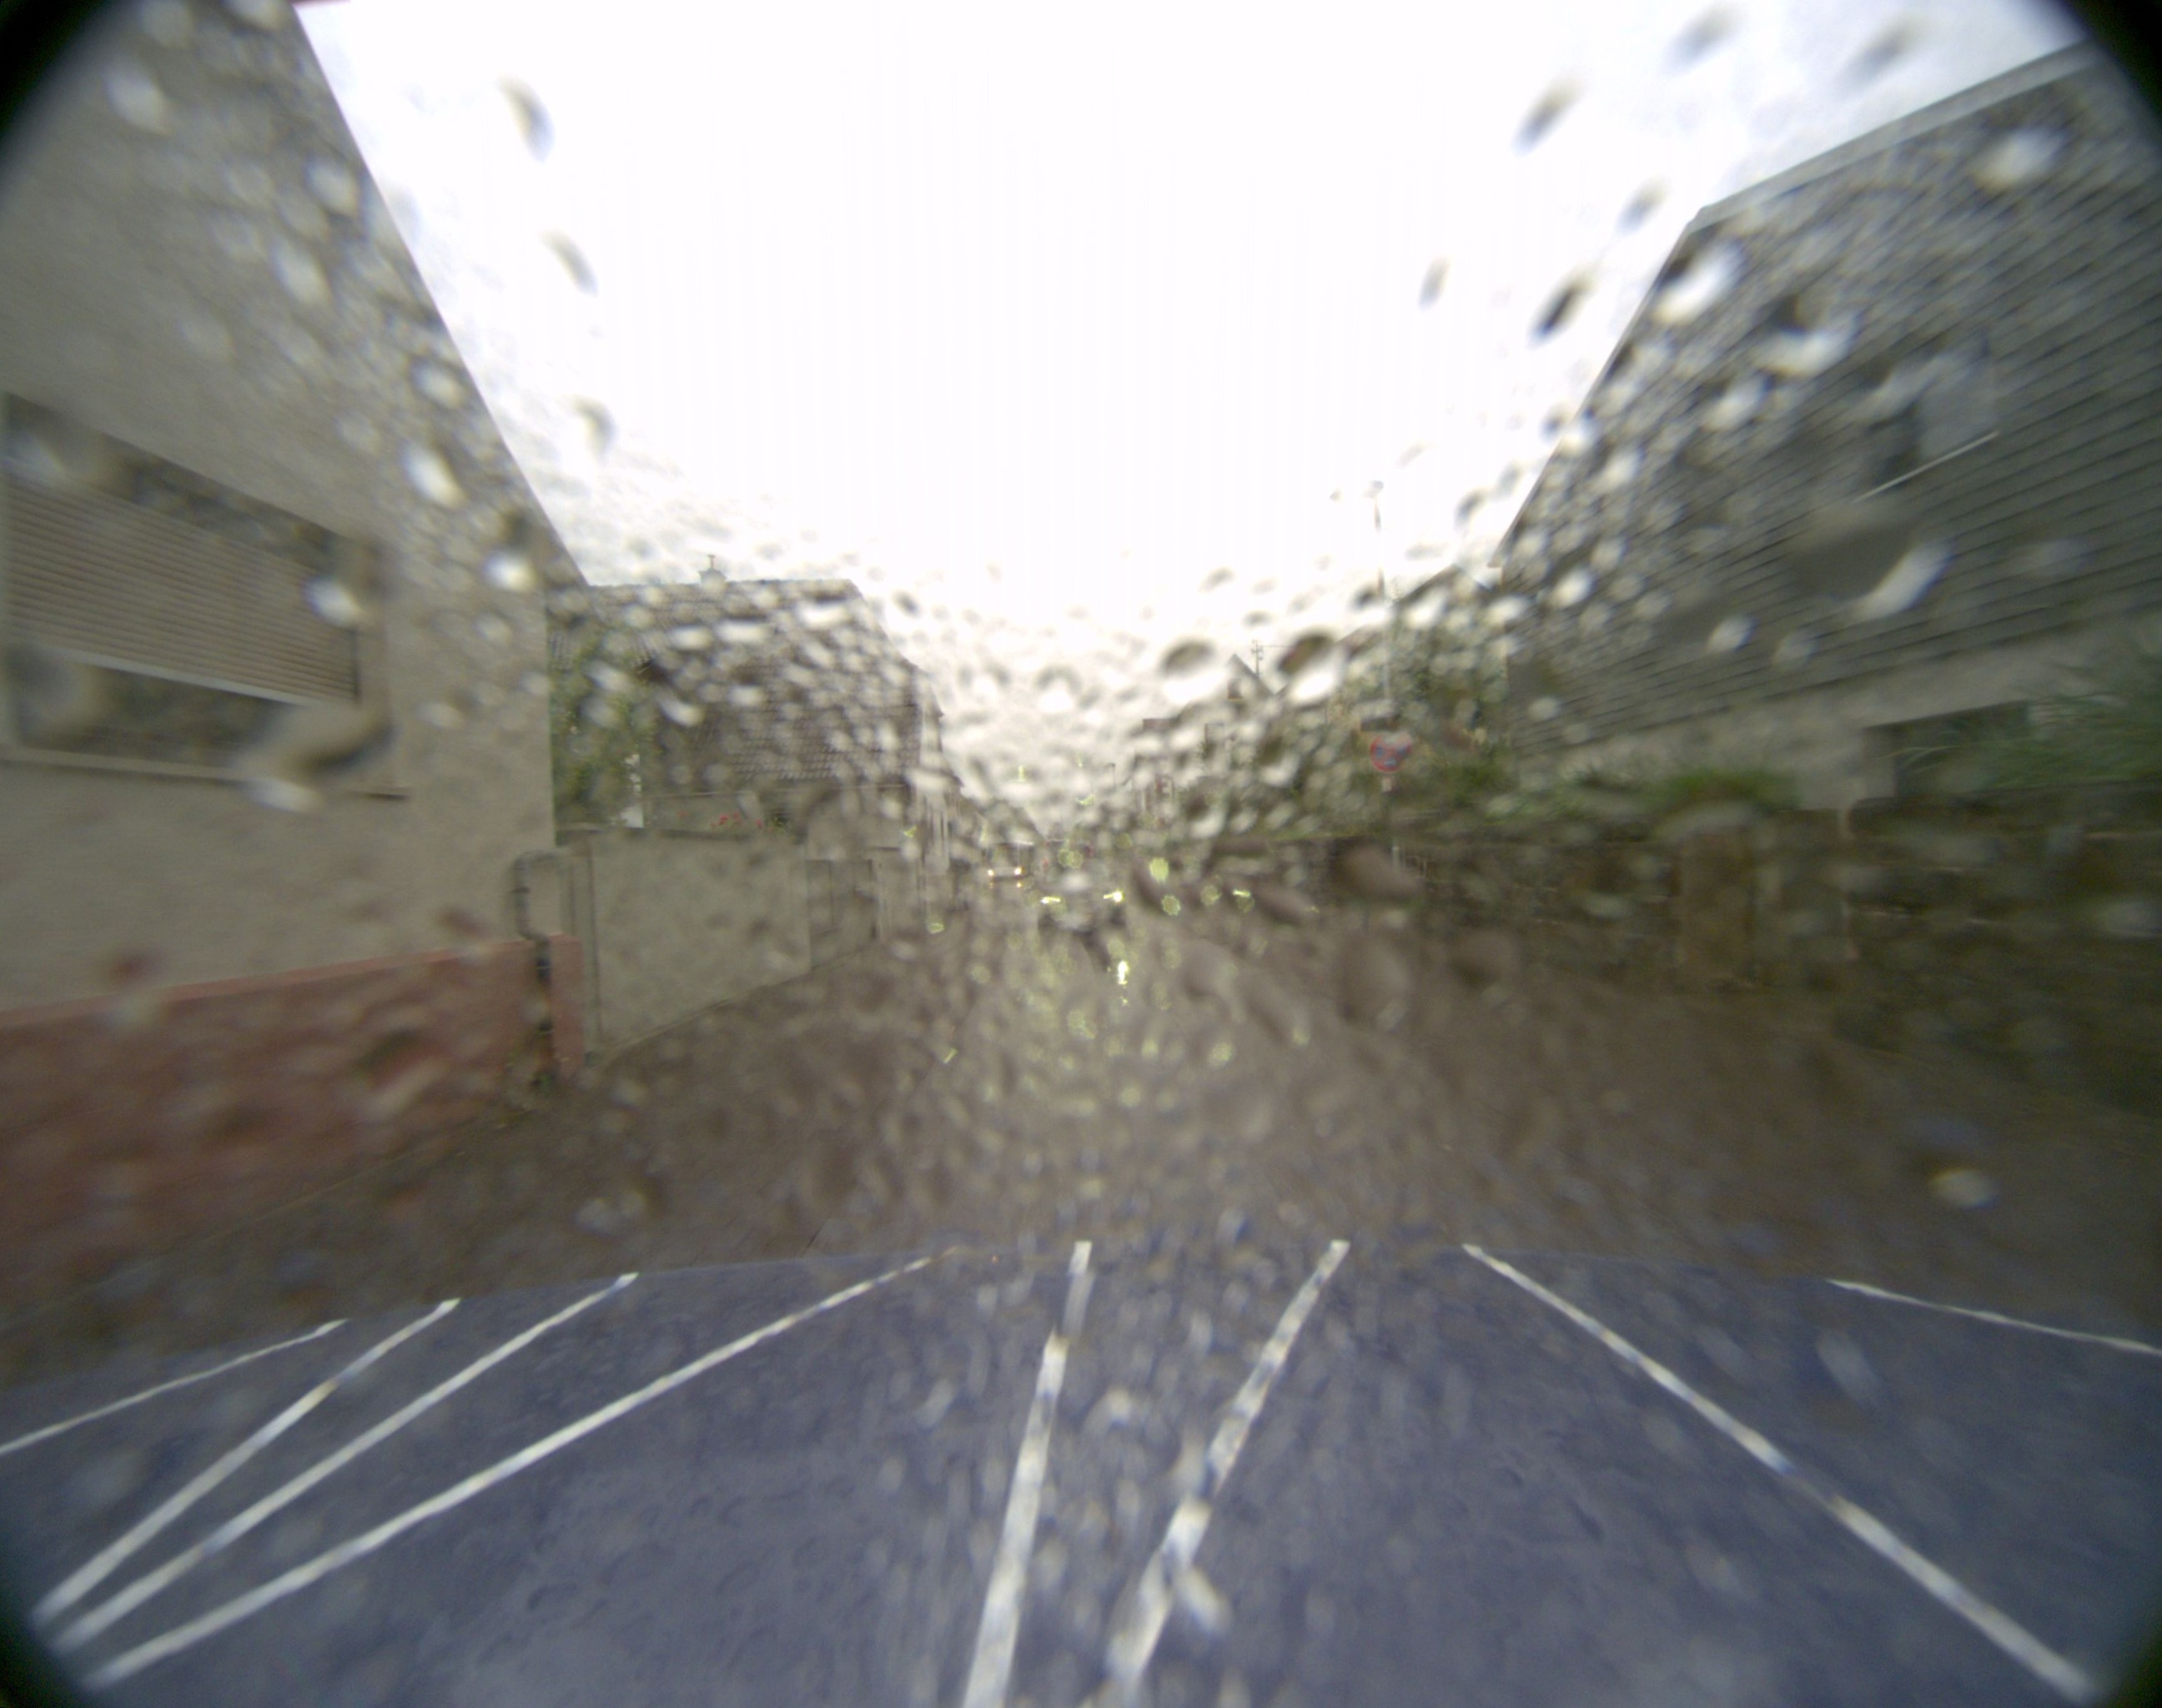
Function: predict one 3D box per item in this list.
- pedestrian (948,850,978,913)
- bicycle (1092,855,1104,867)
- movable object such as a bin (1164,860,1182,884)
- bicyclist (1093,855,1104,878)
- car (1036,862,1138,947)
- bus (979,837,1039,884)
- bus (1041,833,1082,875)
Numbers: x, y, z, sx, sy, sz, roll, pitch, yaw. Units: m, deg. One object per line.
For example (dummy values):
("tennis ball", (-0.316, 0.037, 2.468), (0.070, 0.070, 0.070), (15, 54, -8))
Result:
("pedestrian", (-3.338, 0.772, 21.541), (0.696, 1.722, 0.820), (-3, 1, -5))
("bicycle", (1.330, 0.529, 59.684), (0.663, 0.865, 1.934), (-4, -2, -5))
("movable object such as a bin", (3.691, 0.729, 30.545), (0.539, 0.925, 0.544), (-4, 1, -7))
("bicyclist", (1.356, 0.985, 59.701), (0.658, 1.759, 0.703), (-4, -1, -5))
("car", (-0.008, 0.975, 16.508), (1.780, 1.349, 4.185), (-5, 1, -4))
("bus", (-5.810, 0.435, 64.176), (3.440, 3.392, 13.870), (-3, 0, 1))
("bus", (-1.523, -0.013, 62.814), (2.814, 2.922, 11.939), (-4, 0, -1))
